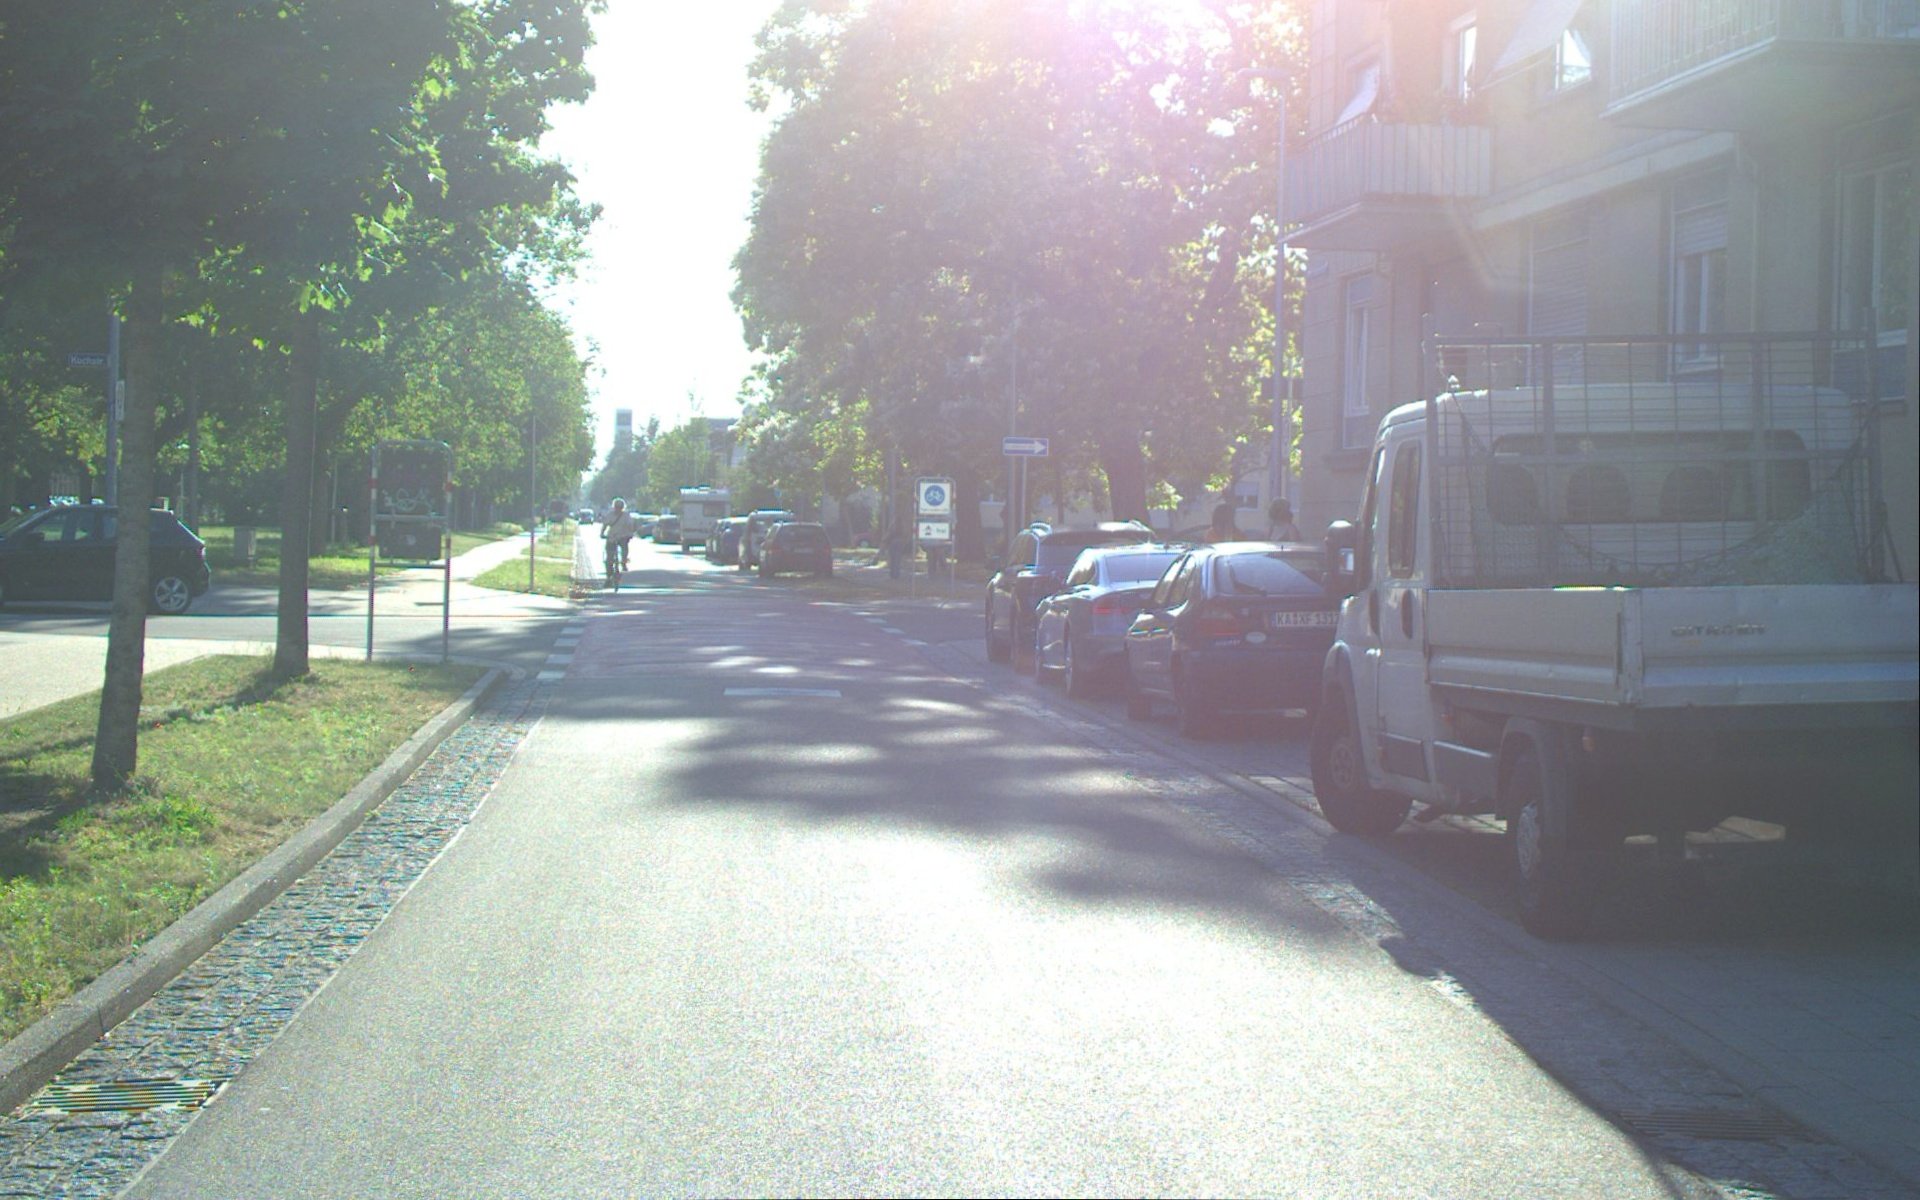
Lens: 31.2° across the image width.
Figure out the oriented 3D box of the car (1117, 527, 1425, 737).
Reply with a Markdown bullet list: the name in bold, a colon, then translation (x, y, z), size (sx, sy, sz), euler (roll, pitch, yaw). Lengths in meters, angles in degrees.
- **car**: translation (2.267, 0.188, 25.932), size (1.690, 1.435, 3.551), euler (0, 2, -5)

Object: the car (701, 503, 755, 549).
- **car**: translation (-8.014, -2.589, 119.123), size (1.793, 1.504, 4.001), euler (2, 2, -3)

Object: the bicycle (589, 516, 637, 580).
- **bicycle**: translation (-6.691, -1.016, 66.406), size (0.688, 1.198, 2.343), euler (2, 2, -1)

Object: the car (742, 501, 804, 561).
- **car**: translation (-5.657, -2.096, 103.680), size (1.793, 1.718, 4.001), euler (2, 2, -3)

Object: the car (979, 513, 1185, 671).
- **car**: translation (1.241, -0.126, 36.658), size (1.690, 1.560, 4.105), euler (0, 2, -5)

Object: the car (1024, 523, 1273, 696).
- **car**: translation (1.648, 0.038, 31.378), size (1.690, 1.435, 4.105), euler (0, 2, -5)

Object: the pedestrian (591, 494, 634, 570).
- **pedestrian**: translation (-6.712, -1.313, 66.432), size (0.688, 1.429, 1.025), euler (2, 1, -1)

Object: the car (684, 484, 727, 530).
- **car**: translation (-11.525, -4.211, 155.851), size (1.793, 1.992, 4.001), euler (2, 2, -3)

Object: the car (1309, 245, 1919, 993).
- **car**: translation (3.105, -0.036, 14.754), size (2.211, 2.521, 6.149), euler (-1, 2, -3)

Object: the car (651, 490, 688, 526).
- **car**: translation (-16.667, -5.279, 197.288), size (1.993, 1.963, 4.001), euler (2, 1, -4)

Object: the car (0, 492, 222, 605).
- **car**: translation (-12.036, -0.705, 45.680), size (3.987, 1.415, 1.772), euler (1, 2, -31)

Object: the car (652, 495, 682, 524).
- **car**: translation (-21.222, -6.570, 249.085), size (1.993, 1.963, 4.001), euler (2, 1, -4)

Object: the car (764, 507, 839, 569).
- **car**: translation (-4.116, -1.634, 89.666), size (1.793, 1.504, 4.001), euler (2, 2, -1)
